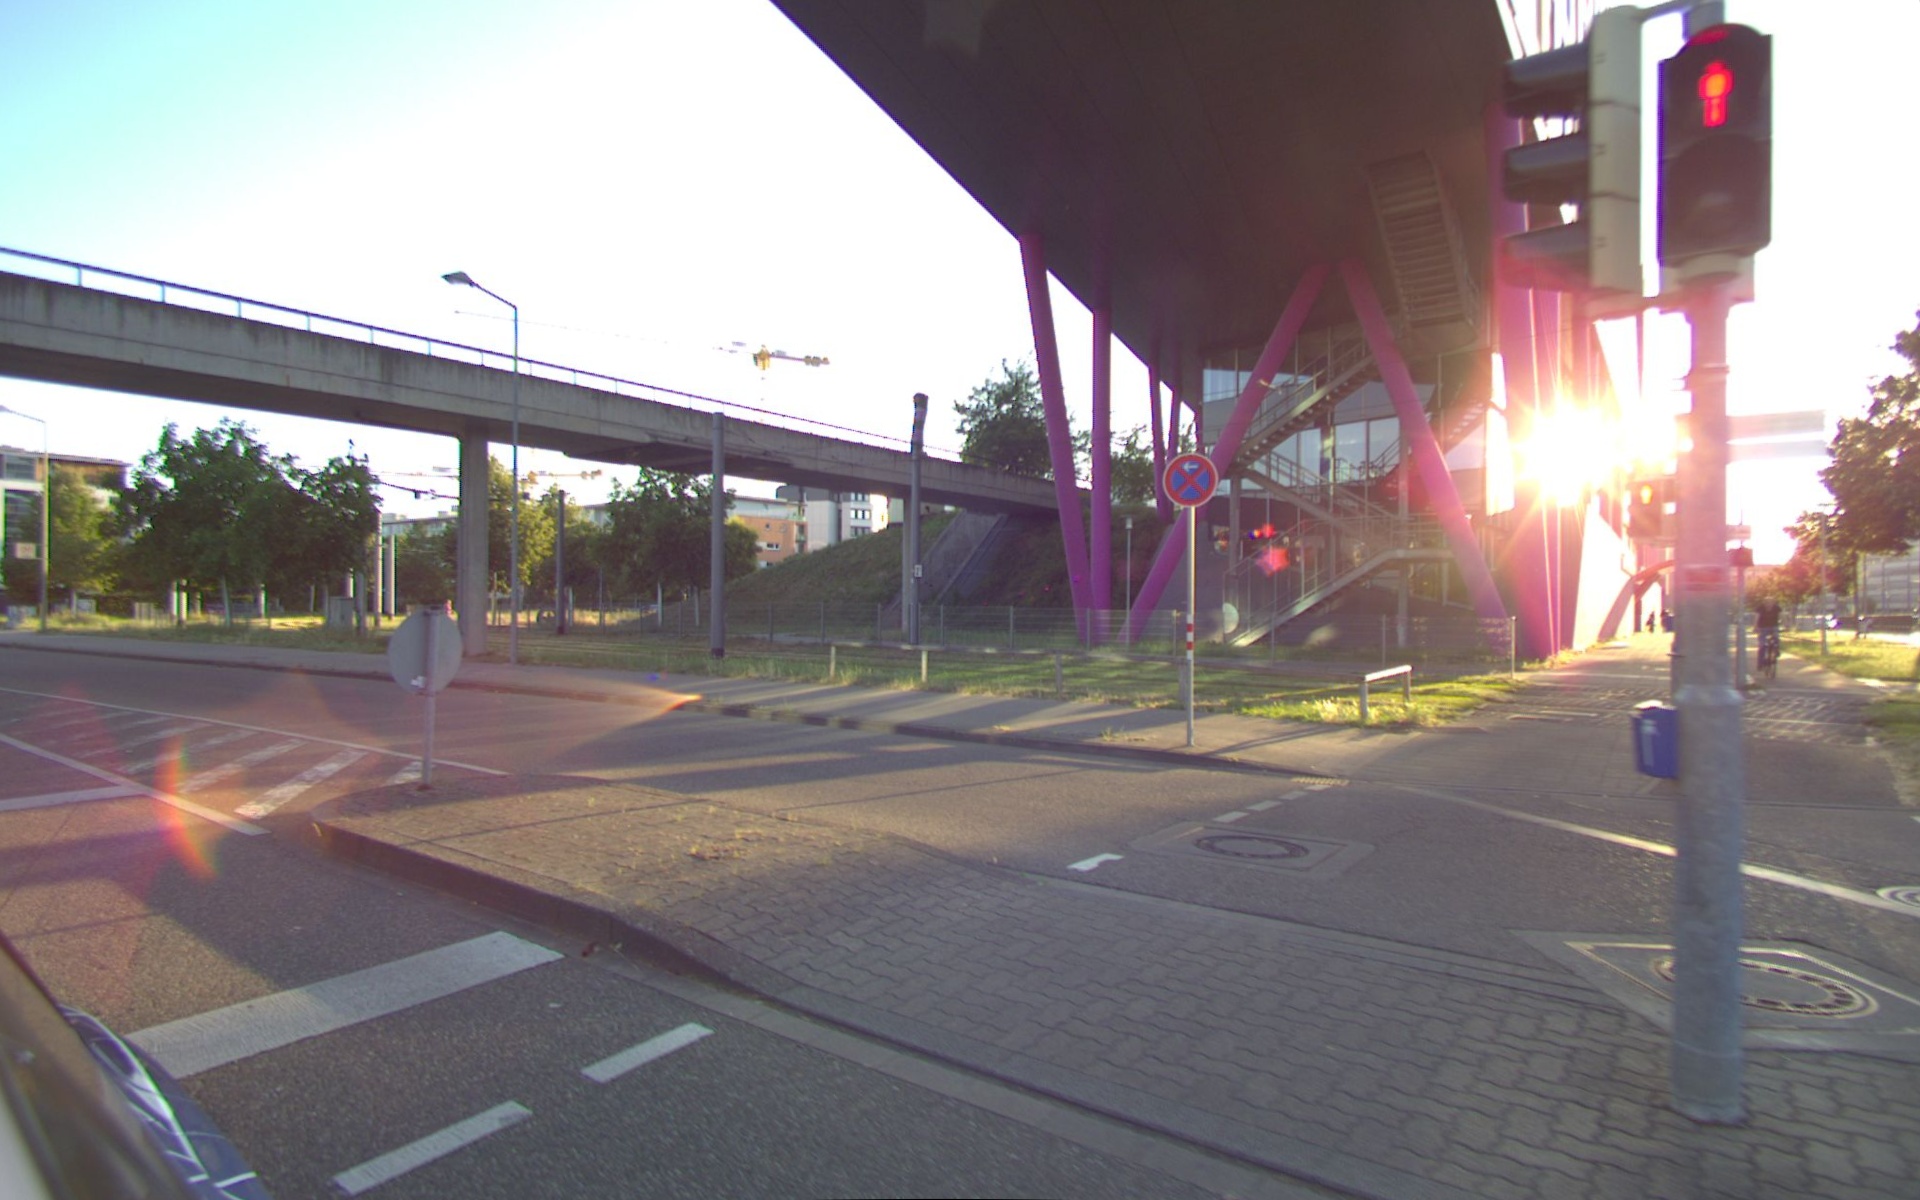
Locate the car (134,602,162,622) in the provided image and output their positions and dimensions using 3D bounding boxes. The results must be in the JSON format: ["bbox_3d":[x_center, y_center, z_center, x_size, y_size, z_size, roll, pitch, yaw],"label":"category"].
[{"bbox_3d":[-73.074,1.064,91.067,1.843,1.734,3.850,1,-1,-41],"label":"car"}]

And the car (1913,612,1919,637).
[{"bbox_3d":[68.310,1.726,70.573,1.995,1.719,3.954,0,-1,34],"label":"car"}]

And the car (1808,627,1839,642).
[{"bbox_3d":[87.761,3.446,102.899,1.995,1.431,3.954,0,-1,34],"label":"car"}]

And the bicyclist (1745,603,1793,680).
[{"bbox_3d":[17.910,0.905,22.419,0.806,1.645,1.271,0,-1,38],"label":"bicyclist"}]

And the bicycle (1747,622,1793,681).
[{"bbox_3d":[17.915,1.107,22.415,0.742,1.216,2.083,0,-1,38],"label":"bicycle"}]

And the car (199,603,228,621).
[{"bbox_3d":[-69.715,1.117,94.540,1.843,1.734,3.850,1,-1,-41],"label":"car"}]

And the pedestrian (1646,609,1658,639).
[{"bbox_3d":[48.235,1.662,70.541,0.618,2.029,0.802,1,0,36],"label":"pedestrian"}]

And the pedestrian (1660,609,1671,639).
[{"bbox_3d":[48.895,1.673,70.132,0.618,2.029,0.802,1,0,36],"label":"pedestrian"}]

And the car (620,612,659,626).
[{"bbox_3d":[-38.131,2.286,120.281,3.940,1.575,2.002,1,-1,-44],"label":"car"}]

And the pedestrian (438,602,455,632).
[{"bbox_3d":[-28.564,0.948,56.326,0.768,1.623,0.417,1,-1,-41],"label":"pedestrian"}]

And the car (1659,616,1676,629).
[{"bbox_3d":[87.852,2.770,125.615,1.716,1.510,3.951,0,-1,36],"label":"car"}]

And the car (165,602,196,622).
[{"bbox_3d":[-71.410,1.087,92.711,1.844,1.734,3.848,1,-1,-43],"label":"car"}]
